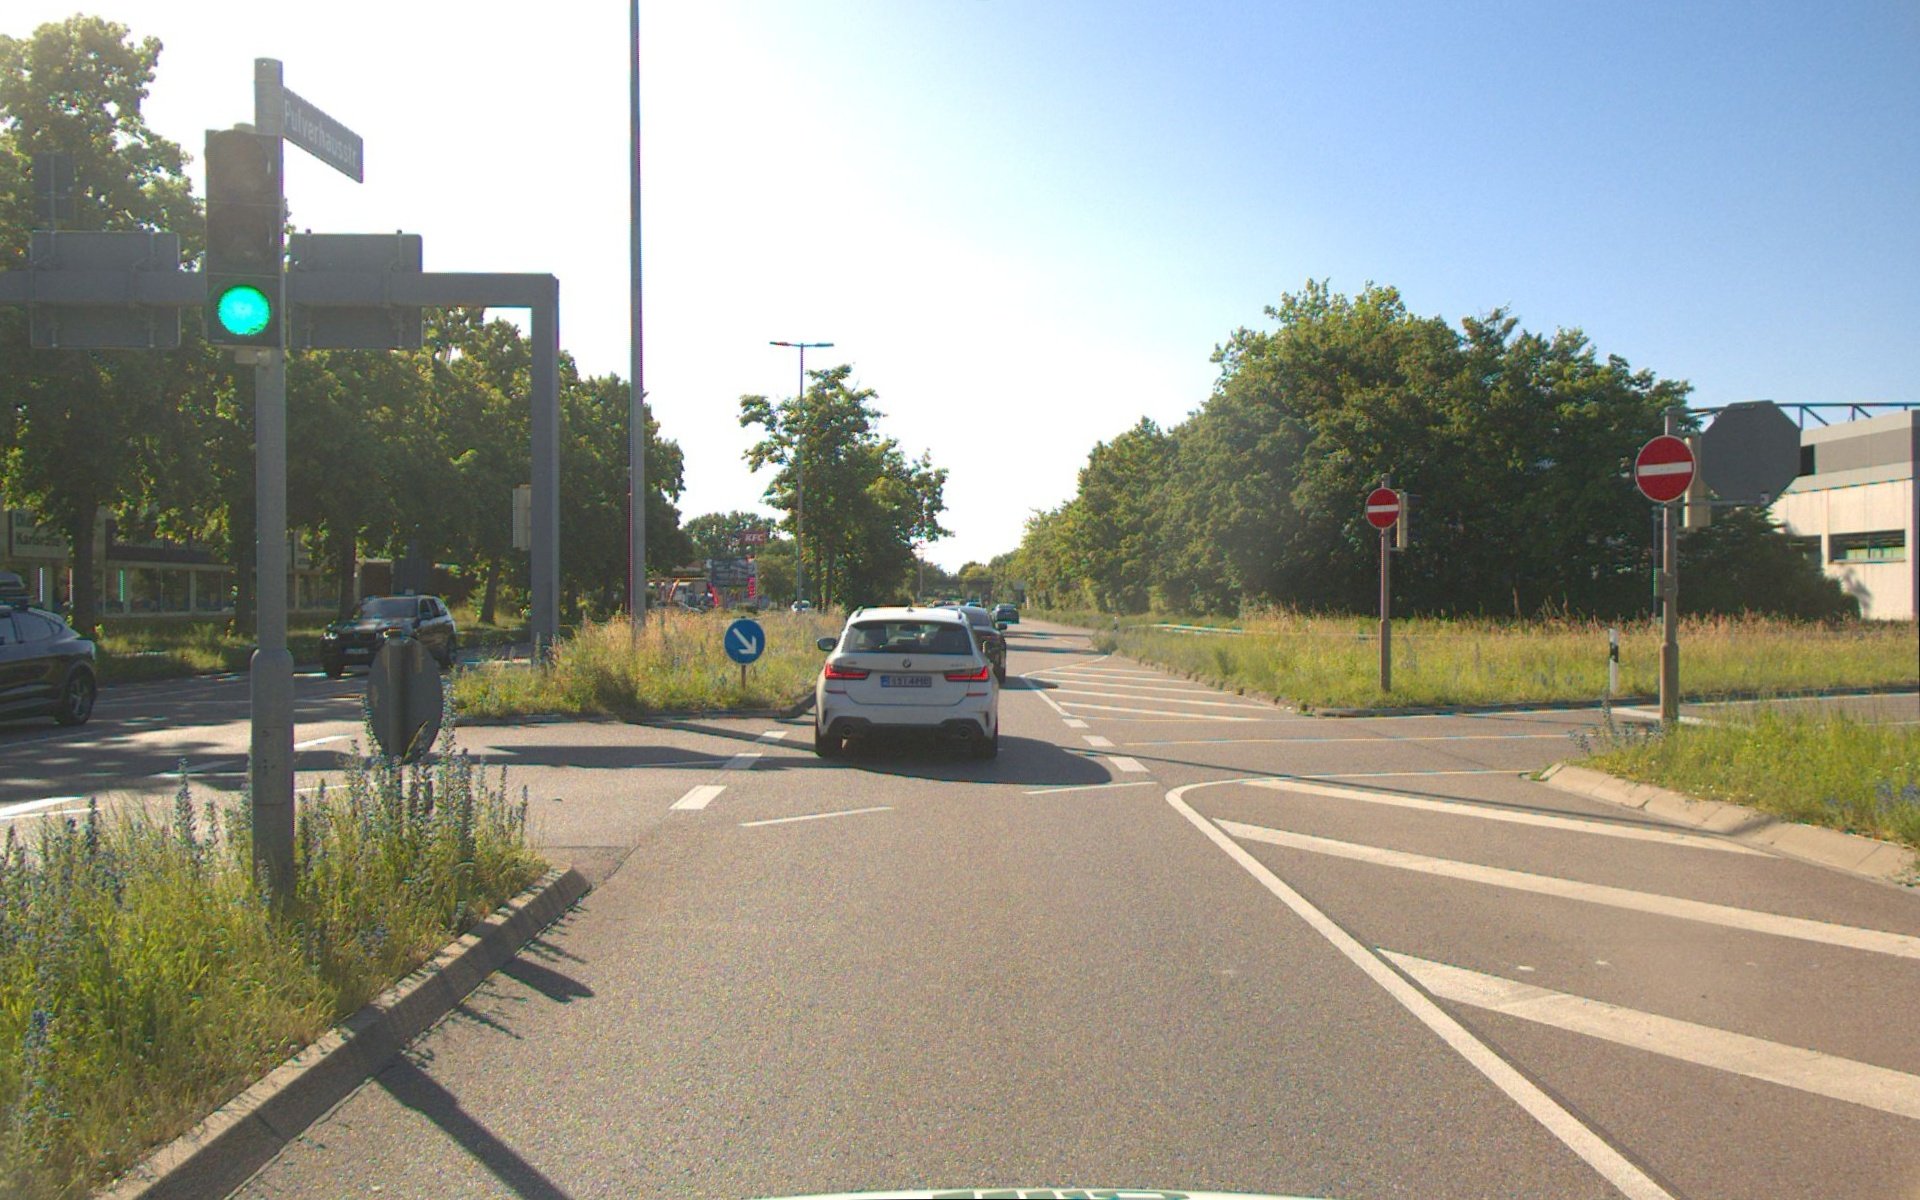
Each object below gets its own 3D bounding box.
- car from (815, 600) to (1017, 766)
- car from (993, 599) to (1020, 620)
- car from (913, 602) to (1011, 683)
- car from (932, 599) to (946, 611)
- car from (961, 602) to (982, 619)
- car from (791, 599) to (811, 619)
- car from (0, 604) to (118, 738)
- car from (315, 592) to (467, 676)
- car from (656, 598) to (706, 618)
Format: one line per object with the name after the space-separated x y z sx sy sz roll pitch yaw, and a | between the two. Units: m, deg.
-0.423 0.760 17.417 1.824 1.480 4.547 1 0 -1 | car
3.481 0.710 124.206 1.824 1.525 4.335 0 0 -1 | car
-0.011 0.791 33.025 1.824 1.480 4.546 0 0 -1 | car
-2.942 0.651 229.870 1.824 1.592 4.546 0 0 -1 | car
1.050 0.959 155.936 1.736 1.583 3.831 0 0 -3 | car
-14.863 0.843 154.804 1.672 1.777 4.164 0 0 -2 | car
-12.275 0.875 20.013 1.838 1.569 4.571 -2 0 -1 | car
-12.888 0.721 37.751 1.903 1.726 4.629 -2 0 -1 | car
-24.459 0.684 145.009 4.025 1.691 1.893 -1 0 1 | car
